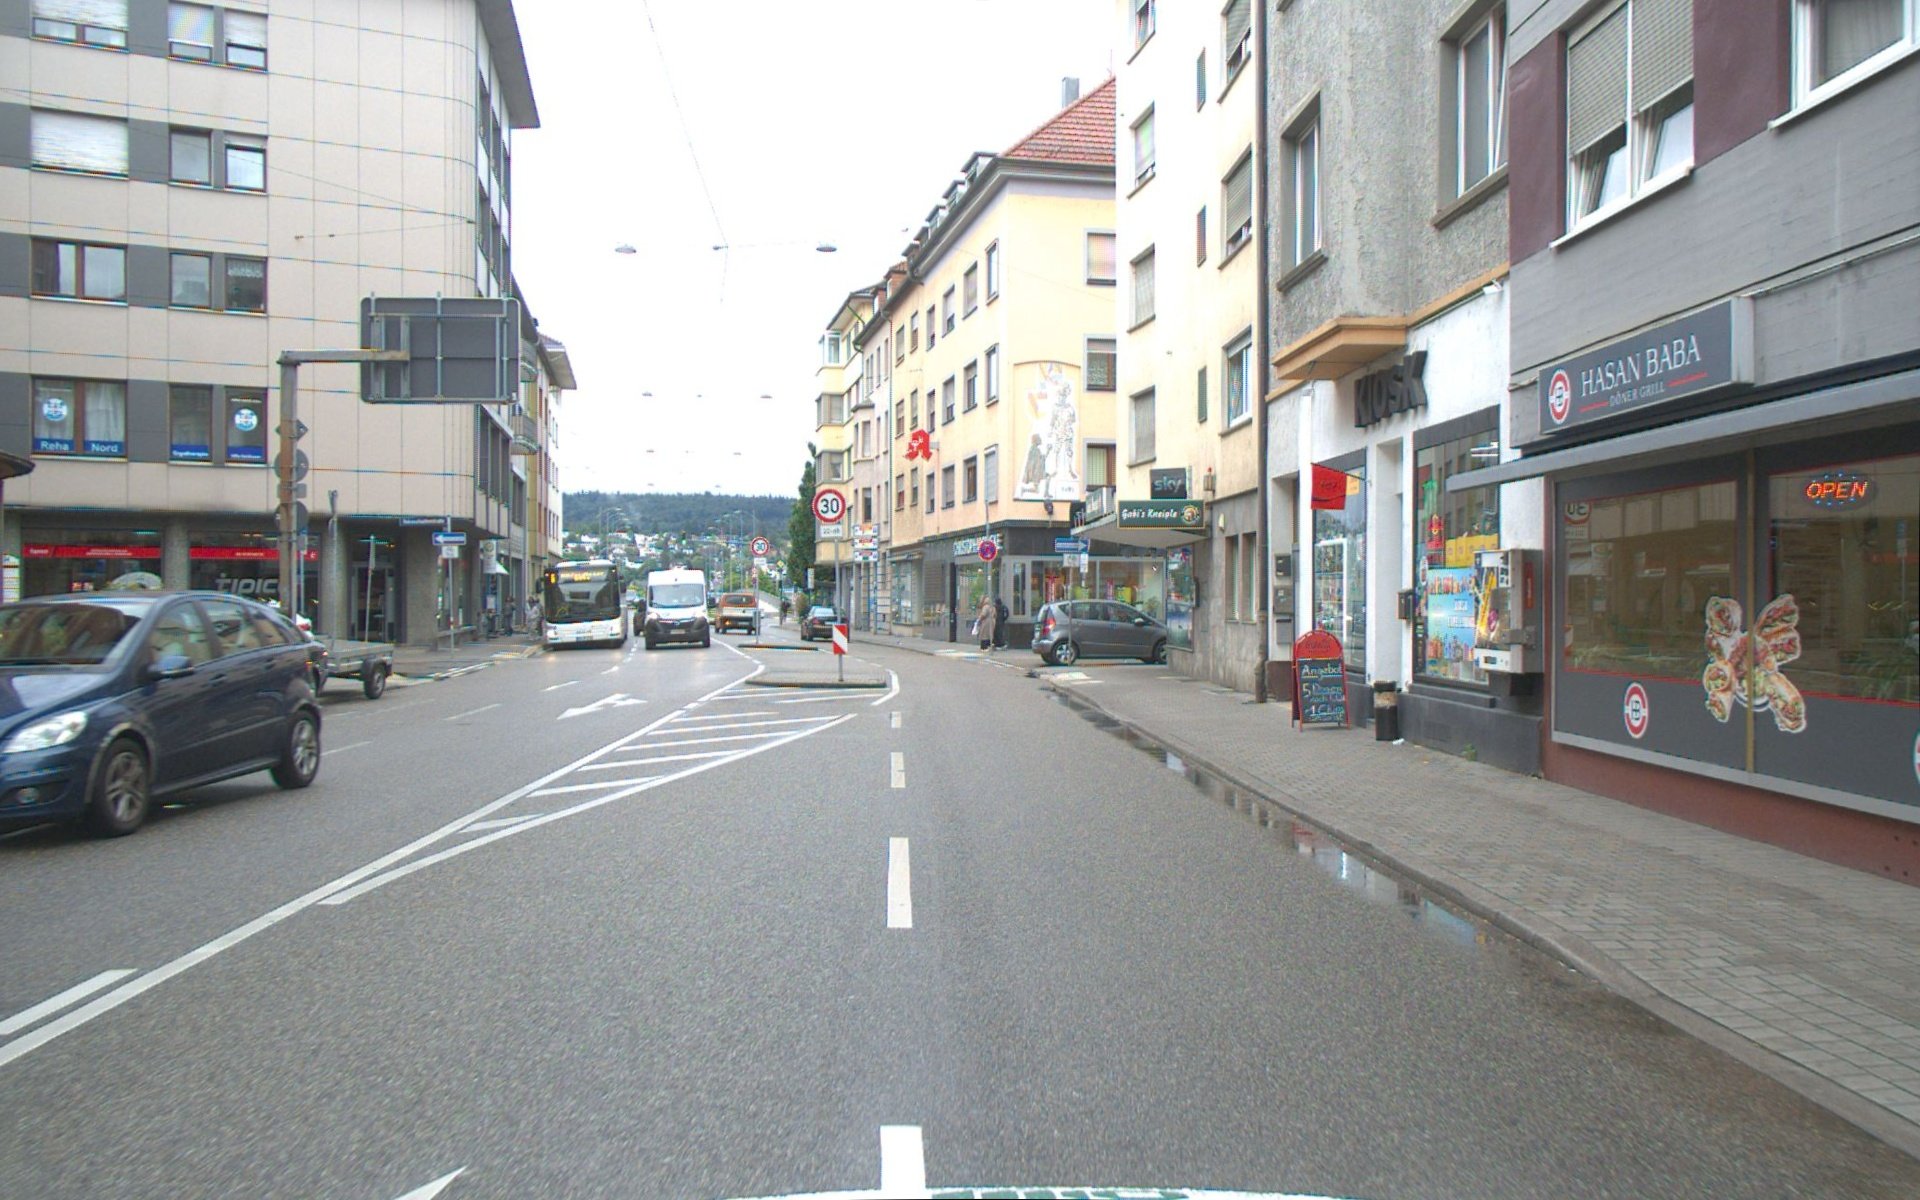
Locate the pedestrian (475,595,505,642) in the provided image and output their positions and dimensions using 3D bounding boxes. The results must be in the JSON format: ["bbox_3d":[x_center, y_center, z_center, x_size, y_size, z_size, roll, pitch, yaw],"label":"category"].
[{"bbox_3d":[-16.485,0.639,58.019,0.928,1.617,0.833,0,-1,-9],"label":"pedestrian"}]

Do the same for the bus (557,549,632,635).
[{"bbox_3d":[-14.771,-0.264,67.304,2.677,3.244,9.267,0,-1,-11],"label":"bus"}]

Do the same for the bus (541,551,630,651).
[{"bbox_3d":[-13.092,0.071,58.338,2.709,3.244,8.887,0,-1,-11],"label":"bus"}]

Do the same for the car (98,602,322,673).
[{"bbox_3d":[-17.367,0.840,38.358,4.581,1.559,1.886,0,-1,-31],"label":"car"}]

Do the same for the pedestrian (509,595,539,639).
[{"bbox_3d":[-17.039,0.665,64.629,0.981,1.713,1.263,0,-1,-9],"label":"pedestrian"}]

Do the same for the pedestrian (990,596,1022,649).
[{"bbox_3d":[1.390,0.675,49.841,0.755,1.587,0.873,0,-1,-13],"label":"pedestrian"}]

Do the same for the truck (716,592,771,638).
[{"bbox_3d":[-10.588,0.729,80.488,2.357,2.167,5.300,0,-1,-11],"label":"truck"}]

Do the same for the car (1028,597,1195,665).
[{"bbox_3d":[3.702,0.747,40.742,3.754,1.601,1.932,0,-1,-9],"label":"car"}]

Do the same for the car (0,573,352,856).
[{"bbox_3d":[-6.112,0.712,12.036,1.718,1.680,4.307,-1,-1,1],"label":"car"}]

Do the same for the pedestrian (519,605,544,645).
[{"bbox_3d":[-15.412,0.887,59.491,0.754,1.420,0.785,0,-1,-9],"label":"pedestrian"}]

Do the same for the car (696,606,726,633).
[{"bbox_3d":[-15.791,1.238,104.801,1.722,1.680,3.989,0,-1,-11],"label":"car"}]

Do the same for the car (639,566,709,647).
[{"bbox_3d":[-9.287,0.223,54.099,2.047,2.478,6.341,0,-1,-8],"label":"car"}]

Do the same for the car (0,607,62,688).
[{"bbox_3d":[-19.099,0.906,31.368,3.469,1.508,1.681,0,-1,-24],"label":"car"}]

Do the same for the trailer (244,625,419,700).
[{"bbox_3d":[-9.854,0.951,26.150,1.556,0.965,3.056,5,0,-1],"label":"trailer"}]

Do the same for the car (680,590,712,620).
[{"bbox_3d":[-18.942,0.376,118.528,1.959,2.049,3.986,0,-1,-13],"label":"car"}]

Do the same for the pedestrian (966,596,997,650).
[{"bbox_3d":[0.654,0.688,49.521,0.765,1.587,0.780,0,-1,-13],"label":"pedestrian"}]

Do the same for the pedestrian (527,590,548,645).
[{"bbox_3d":[-15.743,0.645,61.698,0.666,2.049,0.775,0,-1,-9],"label":"pedestrian"}]

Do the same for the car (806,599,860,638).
[{"bbox_3d":[-5.127,0.755,66.328,1.722,1.505,3.989,0,-1,-11],"label":"car"}]
